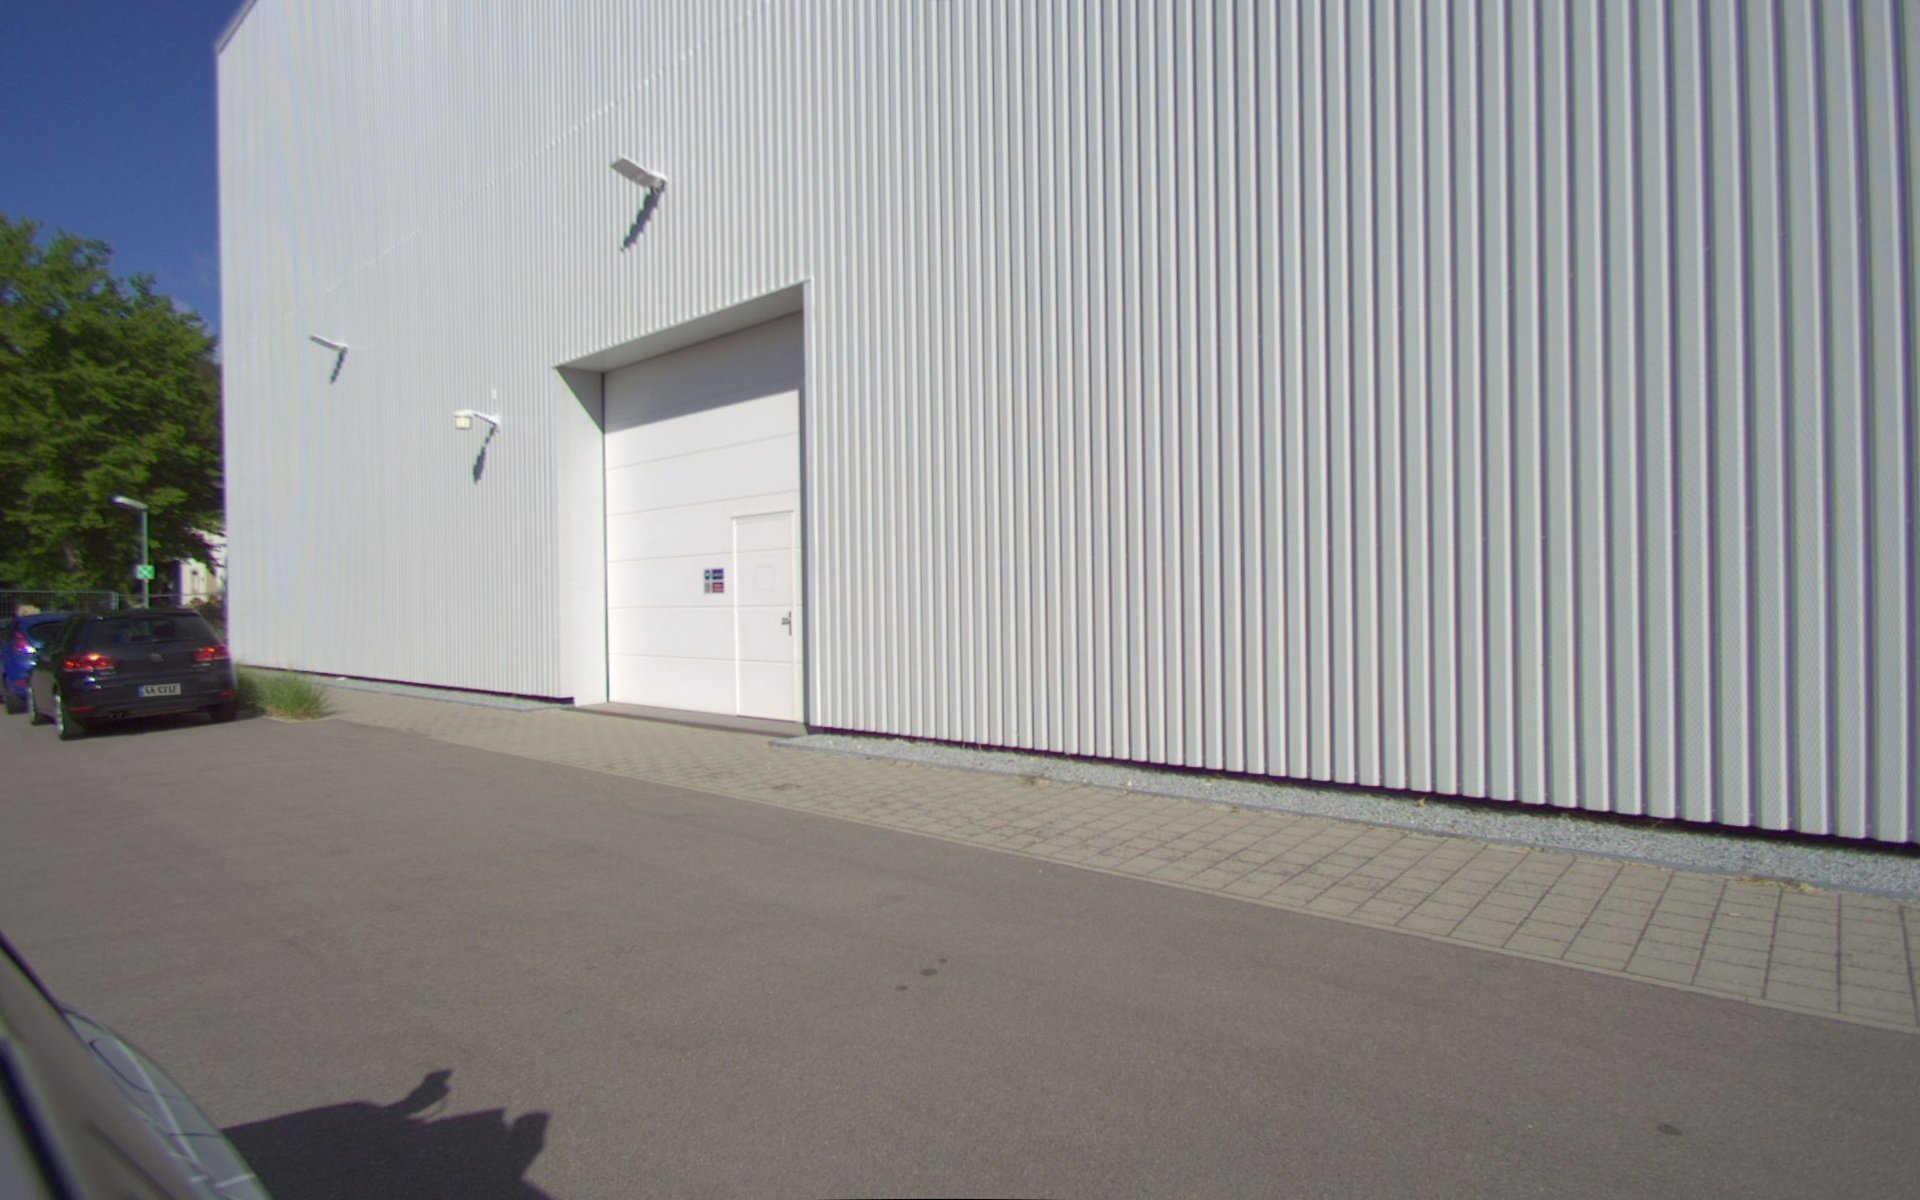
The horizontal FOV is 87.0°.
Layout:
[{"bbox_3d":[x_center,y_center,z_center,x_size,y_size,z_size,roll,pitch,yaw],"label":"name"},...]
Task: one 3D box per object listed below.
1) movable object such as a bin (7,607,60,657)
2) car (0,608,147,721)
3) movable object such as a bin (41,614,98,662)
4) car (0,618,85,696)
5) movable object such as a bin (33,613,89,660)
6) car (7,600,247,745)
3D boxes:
[{"bbox_3d":[-31.195,1.069,34.069,1.228,1.609,1.080,1,1,36],"label":"movable object such as a bin"},{"bbox_3d":[-14.624,0.946,16.292,4.092,1.511,1.614,-1,2,40],"label":"car"},{"bbox_3d":[-28.439,1.200,32.320,1.228,1.443,1.080,0,2,36],"label":"movable object such as a bin"},{"bbox_3d":[-18.732,1.084,19.863,4.051,1.371,1.756,-1,0,41],"label":"car"},{"bbox_3d":[-29.464,1.184,33.172,1.228,1.450,1.080,0,2,36],"label":"movable object such as a bin"},{"bbox_3d":[-10.893,0.825,13.127,4.292,1.511,1.736,-1,1,42],"label":"car"}]
